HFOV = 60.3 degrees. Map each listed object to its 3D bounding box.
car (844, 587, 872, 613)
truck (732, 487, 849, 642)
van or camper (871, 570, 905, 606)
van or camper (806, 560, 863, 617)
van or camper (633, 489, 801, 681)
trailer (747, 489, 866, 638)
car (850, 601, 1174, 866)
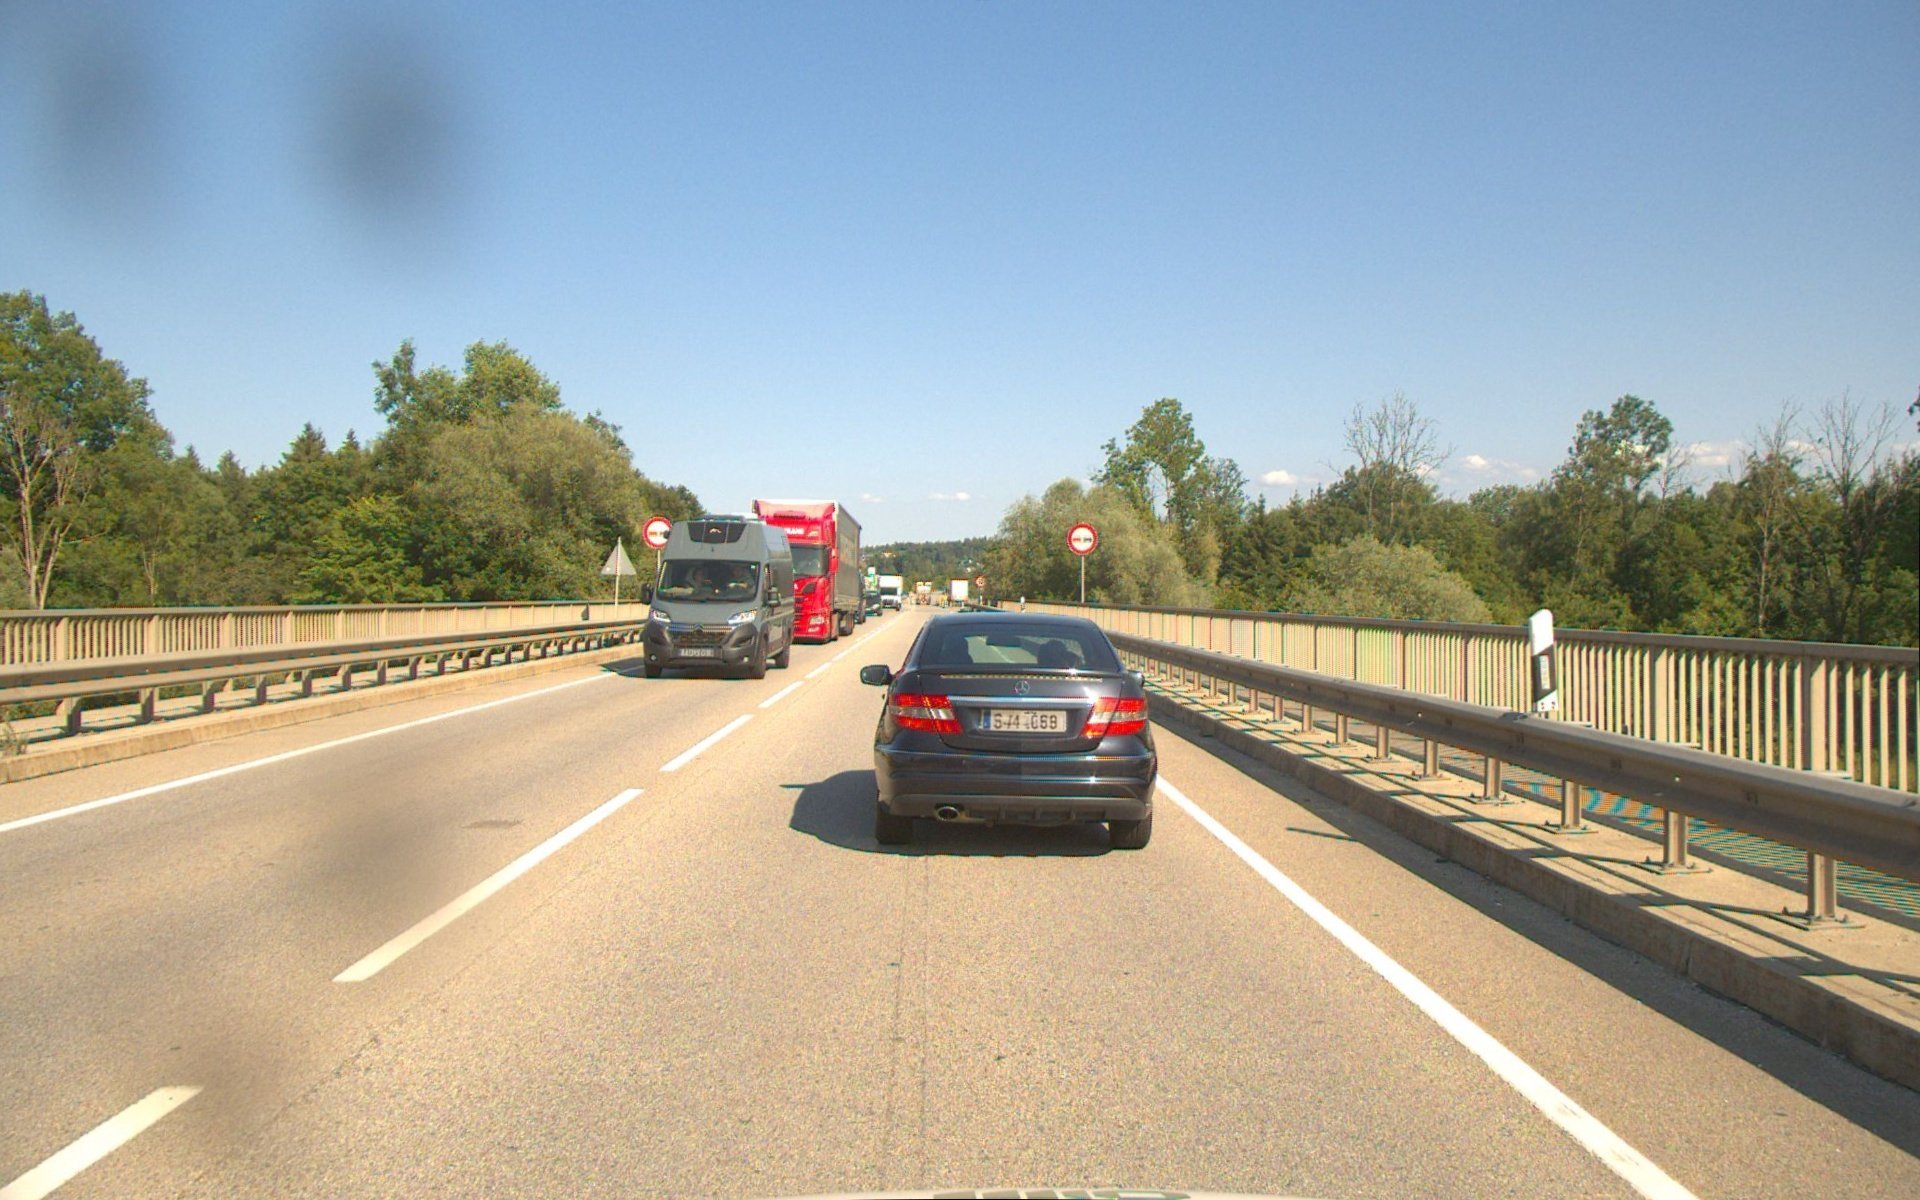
[{"bbox_3d":[-6.896,0.009,111.810,1.805,1.670,4.573,1,0,-4],"label":"car"},{"bbox_3d":[-4.910,-1.001,48.870,2.848,4.257,5.712,1,0,0],"label":"truck"},{"bbox_3d":[-6.795,-1.138,157.783,2.581,3.313,7.751,1,0,2],"label":"van or camper"},{"bbox_3d":[-6.198,-0.565,82.409,2.381,2.688,6.403,1,0,-1],"label":"van or camper"},{"bbox_3d":[-4.309,-0.278,30.567,2.269,3.104,6.814,1,0,-2],"label":"van or camper"},{"bbox_3d":[-4.970,-1.124,56.283,2.848,4.377,14.299,1,0,-1],"label":"trailer"},{"bbox_3d":[0.286,0.728,11.006,1.756,1.400,4.000,0,0,0],"label":"car"}]
